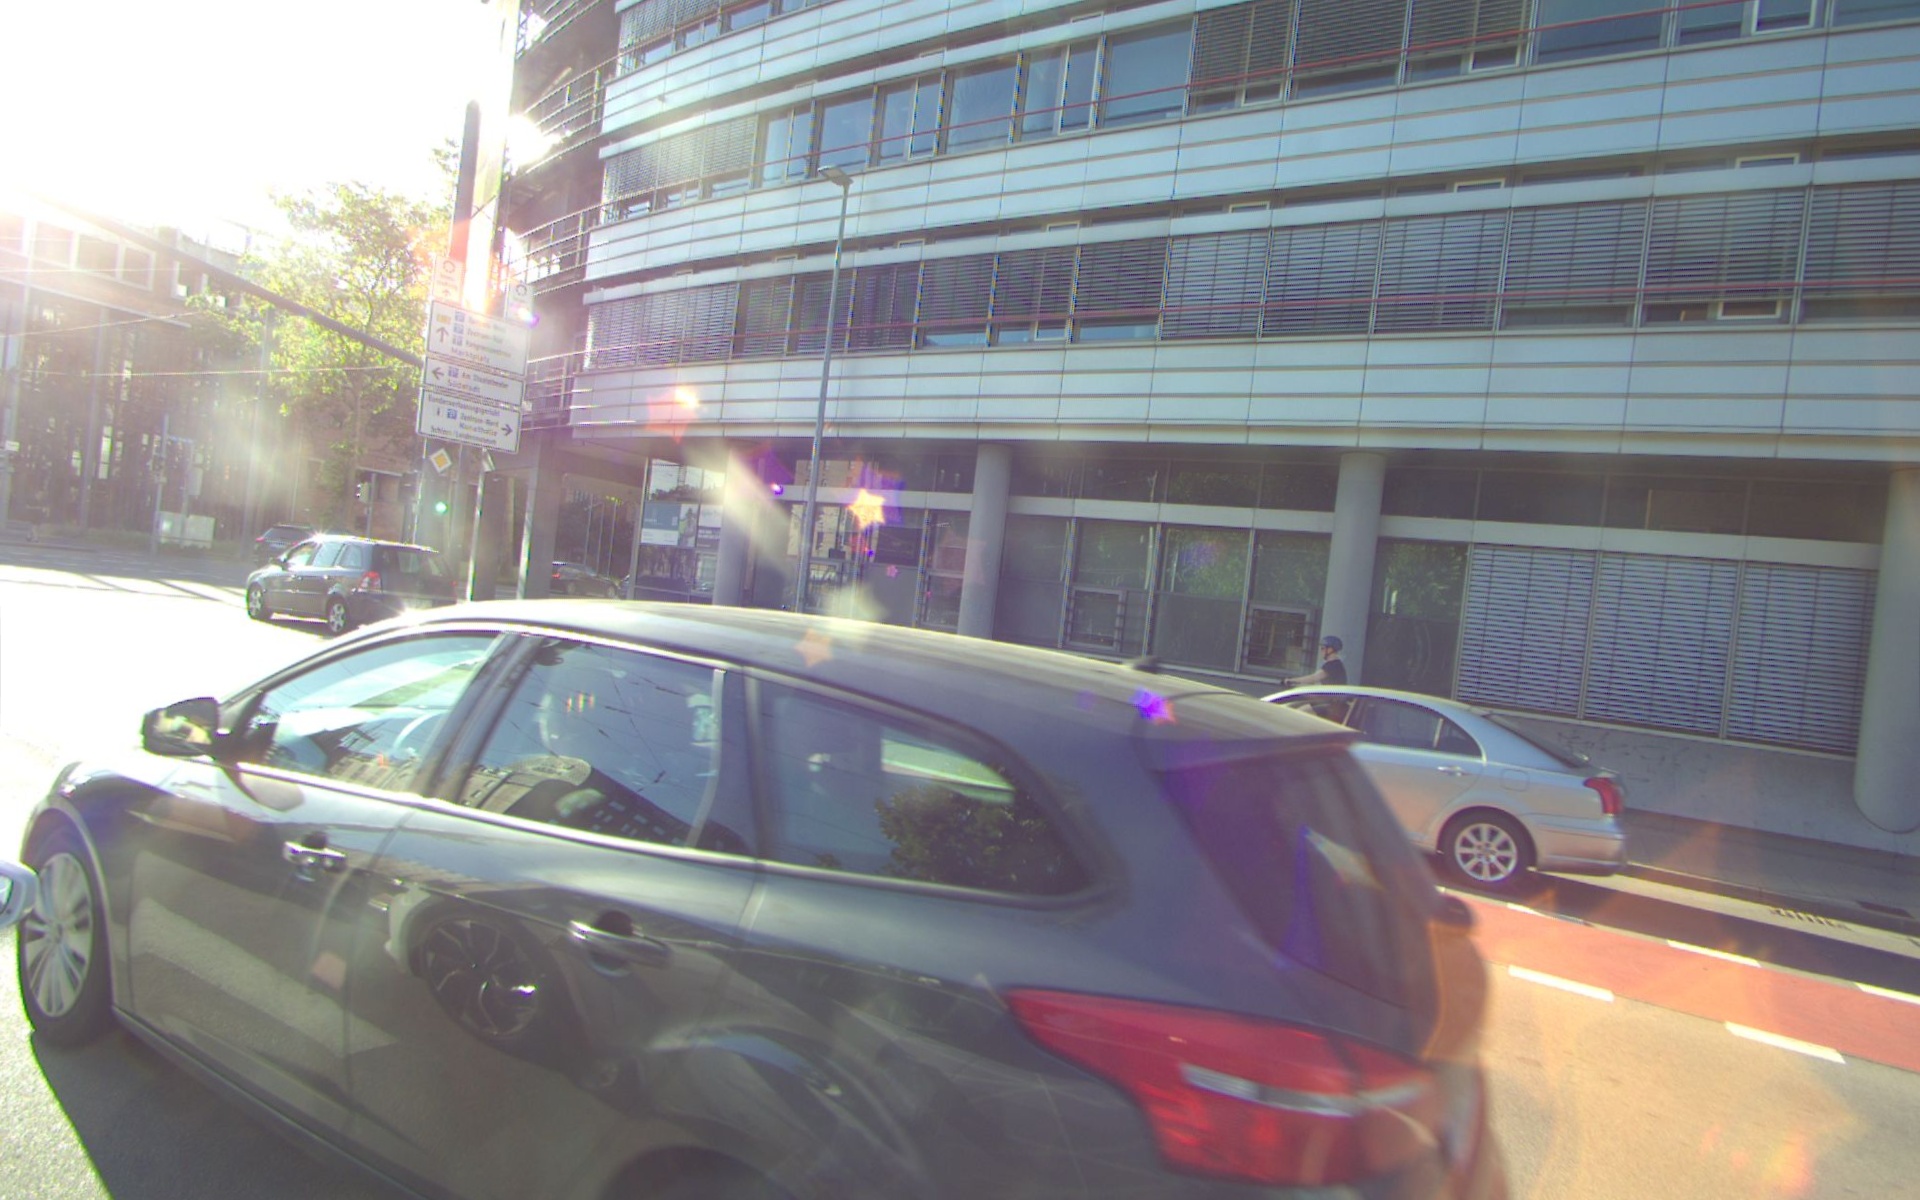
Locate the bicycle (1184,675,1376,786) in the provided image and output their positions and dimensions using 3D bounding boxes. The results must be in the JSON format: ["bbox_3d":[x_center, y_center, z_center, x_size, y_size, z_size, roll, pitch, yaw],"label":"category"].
[{"bbox_3d":[3.950,1.589,12.503,2.167,1.047,0.499,5,3,25],"label":"bicycle"}]

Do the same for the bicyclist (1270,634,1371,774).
[{"bbox_3d":[4.397,1.238,12.268,1.026,1.587,0.625,3,1,28],"label":"bicyclist"}]

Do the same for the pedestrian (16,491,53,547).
[{"bbox_3d":[-31.213,-2.731,33.944,0.701,1.781,0.556,6,1,-33],"label":"pedestrian"}]

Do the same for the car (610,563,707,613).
[{"bbox_3d":[-13.436,-0.487,45.007,1.832,1.670,4.000,7,-2,24],"label":"car"}]

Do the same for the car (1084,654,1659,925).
[{"bbox_3d":[3.591,1.521,9.281,4.413,1.448,1.753,7,0,30],"label":"car"}]

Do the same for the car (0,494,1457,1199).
[{"bbox_3d":[-0.975,0.662,2.884,4.083,1.450,1.688,7,0,30],"label":"car"}]

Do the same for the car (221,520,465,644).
[{"bbox_3d":[-10.815,-0.336,17.557,4.388,1.649,1.690,7,0,31],"label":"car"}]

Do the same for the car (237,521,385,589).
[{"bbox_3d":[-21.439,-1.432,33.492,1.963,1.771,4.329,7,0,0],"label":"car"}]
